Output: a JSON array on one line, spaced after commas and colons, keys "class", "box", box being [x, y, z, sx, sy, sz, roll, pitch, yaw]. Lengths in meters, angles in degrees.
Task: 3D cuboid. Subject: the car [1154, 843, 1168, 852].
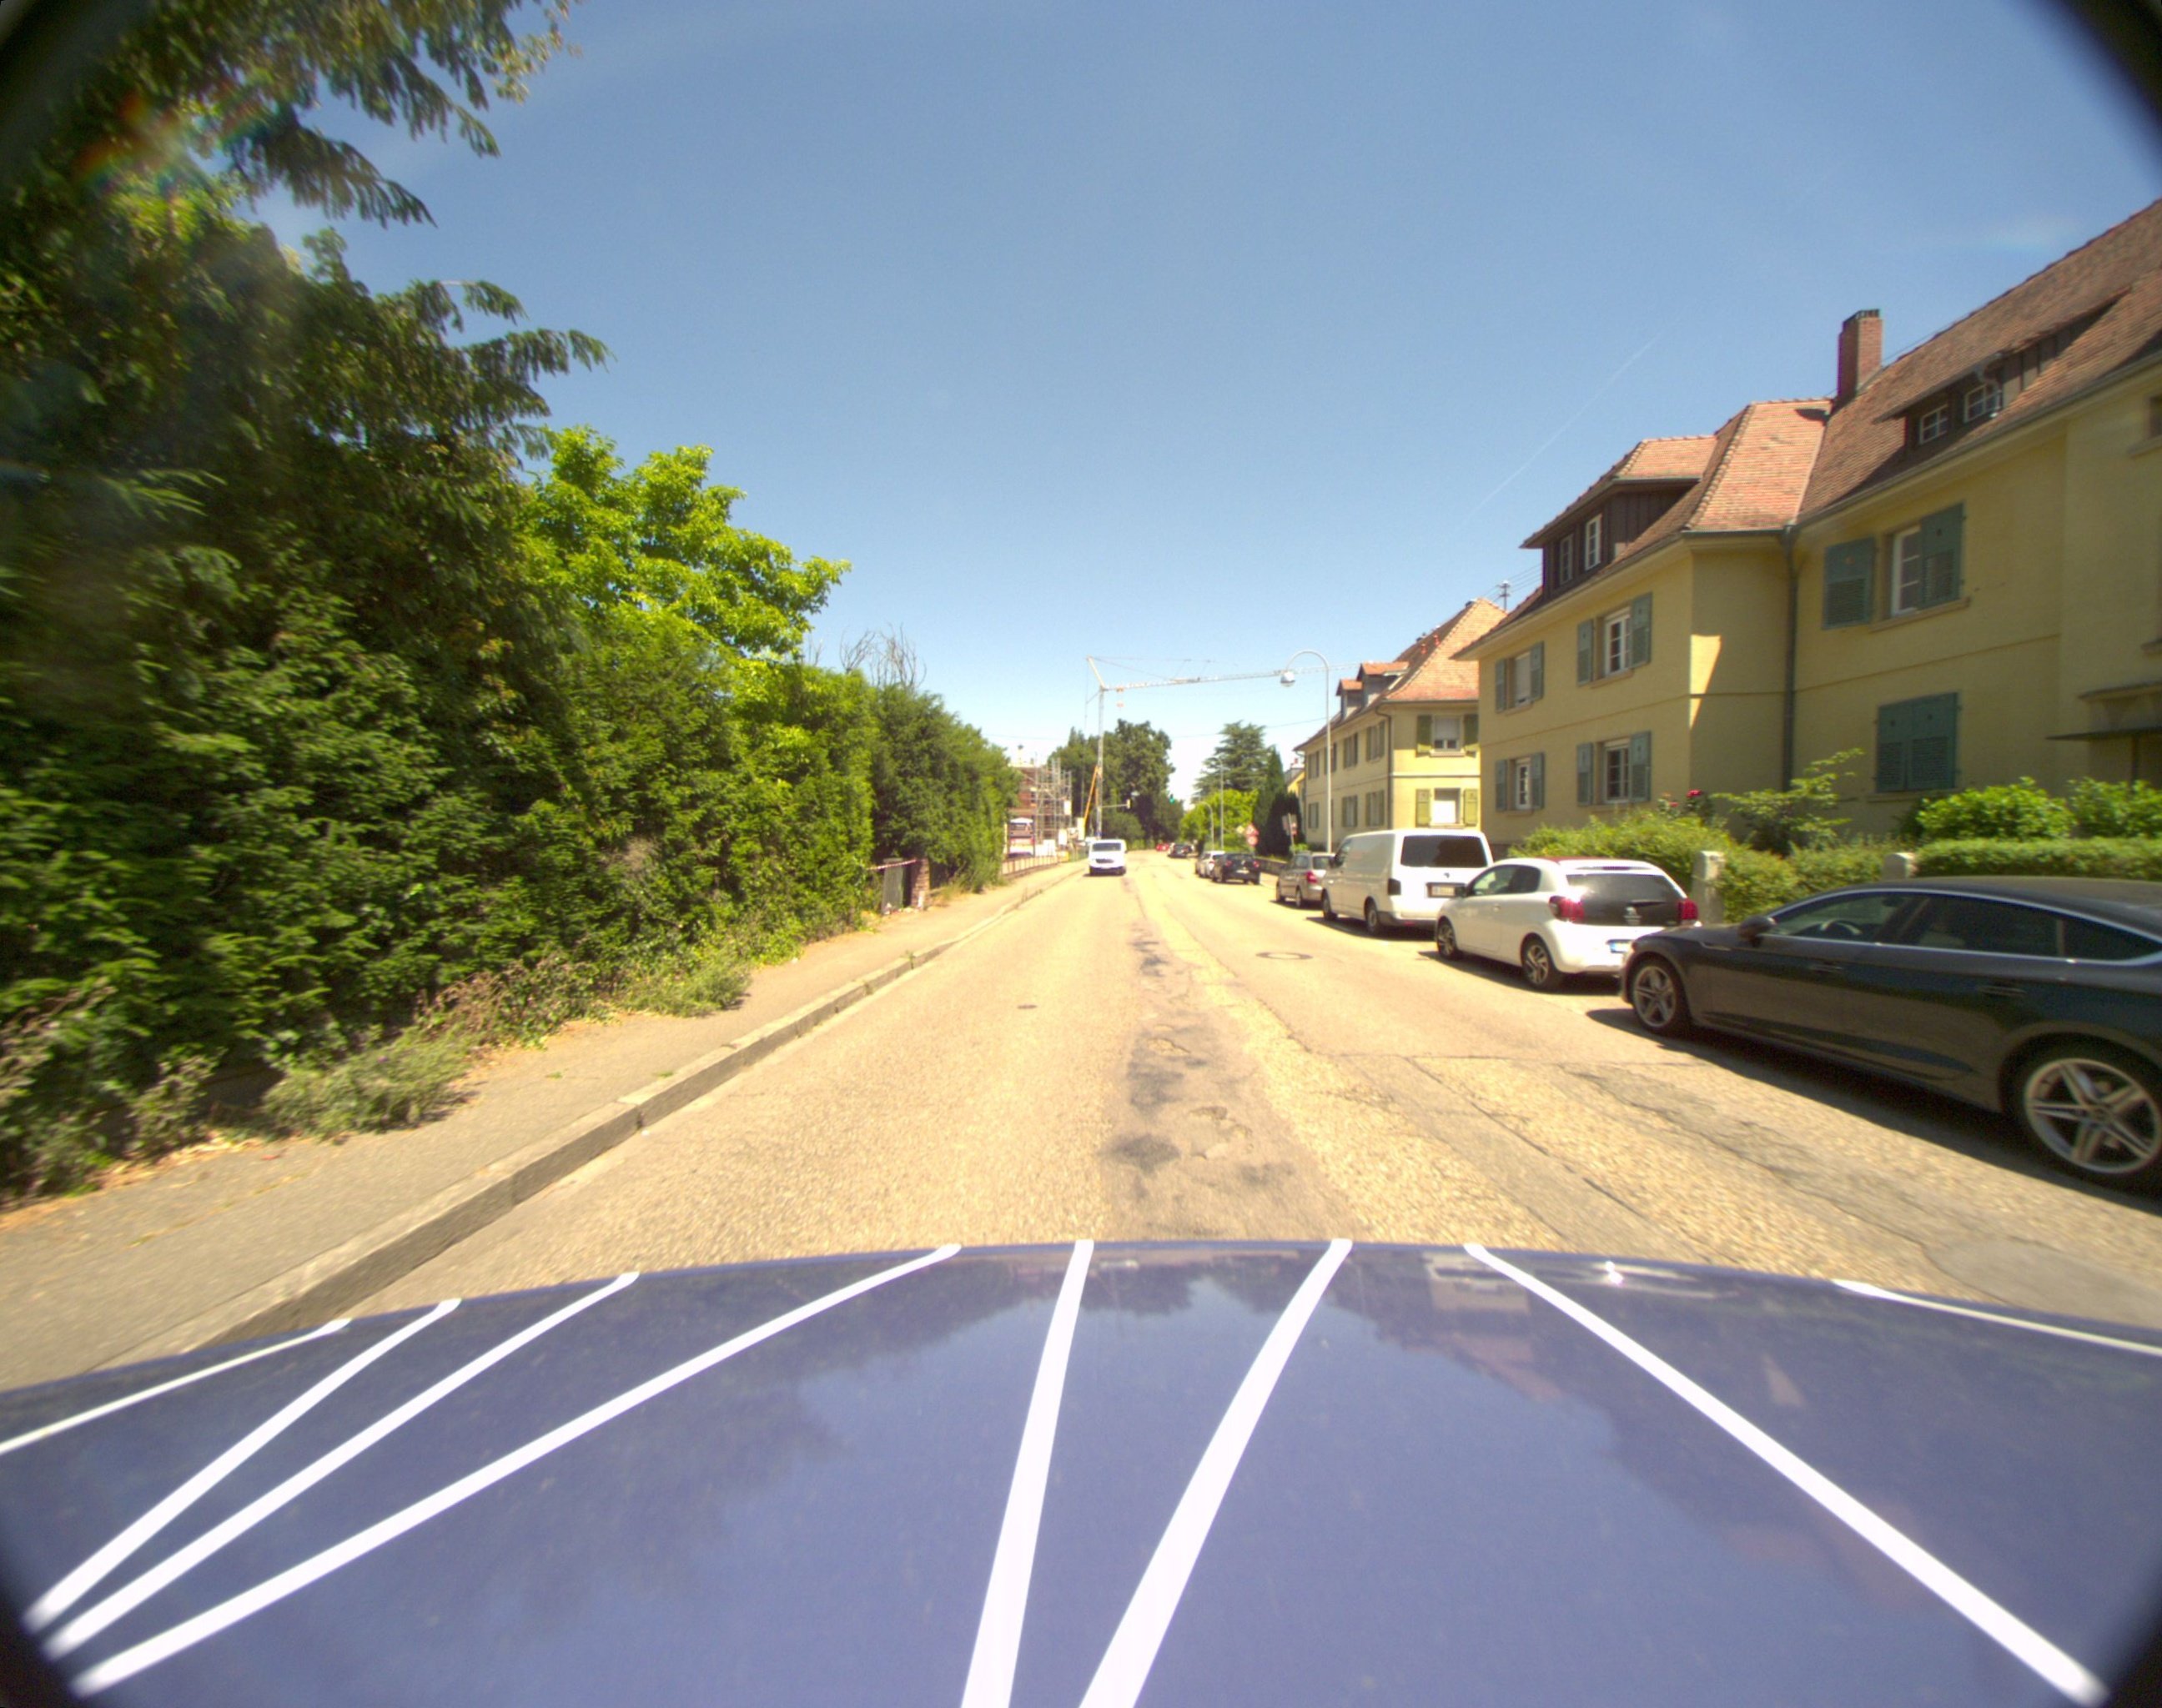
[{"class": "car", "box": [14.611, -1.144, 138.748, 1.756, 1.609, 3.577, 1, 1, 16]}]

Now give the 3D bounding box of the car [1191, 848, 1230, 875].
[{"class": "car", "box": [7.740, 0.428, 45.682, 1.763, 1.439, 3.924, 1, 1, 2]}]

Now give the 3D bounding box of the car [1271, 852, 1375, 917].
[{"class": "car", "box": [6.498, 0.754, 20.885, 1.690, 1.516, 4.062, 2, 1, 3]}]

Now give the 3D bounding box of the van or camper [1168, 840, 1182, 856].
[{"class": "van or camper", "box": [11.591, -0.776, 93.395, 1.684, 1.794, 3.987, 2, 2, 8]}]

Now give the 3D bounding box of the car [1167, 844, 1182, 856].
[{"class": "car", "box": [12.192, -0.596, 99.130, 1.684, 1.433, 4.249, 2, 2, 9]}]

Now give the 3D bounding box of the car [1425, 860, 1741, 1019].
[{"class": "car", "box": [5.793, 0.863, 9.332, 1.670, 1.484, 3.478, 1, 1, 3]}]

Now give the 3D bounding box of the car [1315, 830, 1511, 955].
[{"class": "car", "box": [6.066, 0.586, 14.577, 1.882, 1.952, 4.626, 2, 1, 3]}]

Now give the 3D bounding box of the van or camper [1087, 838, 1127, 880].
[{"class": "van or camper", "box": [1.512, 0.188, 42.563, 1.998, 1.968, 5.361, -3, 3, 4]}]

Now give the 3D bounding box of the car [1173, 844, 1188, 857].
[{"class": "car", "box": [11.630, -0.425, 88.947, 1.684, 1.404, 3.927, 1, 2, 6]}]

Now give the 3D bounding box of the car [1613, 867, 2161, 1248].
[{"class": "car", "box": [5.436, 0.891, 4.464, 1.670, 1.484, 4.466, 0, 1, 3]}]

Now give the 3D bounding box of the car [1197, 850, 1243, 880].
[{"class": "car", "box": [7.307, 0.548, 40.352, 1.799, 1.394, 4.218, 1, 1, 2]}]

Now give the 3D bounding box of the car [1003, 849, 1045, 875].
[{"class": "car", "box": [-3.648, 0.473, 48.859, 1.714, 1.515, 3.842, 0, 1, 11]}]

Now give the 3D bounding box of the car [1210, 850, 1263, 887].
[{"class": "car", "box": [7.094, 0.610, 35.044, 1.719, 1.477, 4.076, 1, 1, 2]}]
